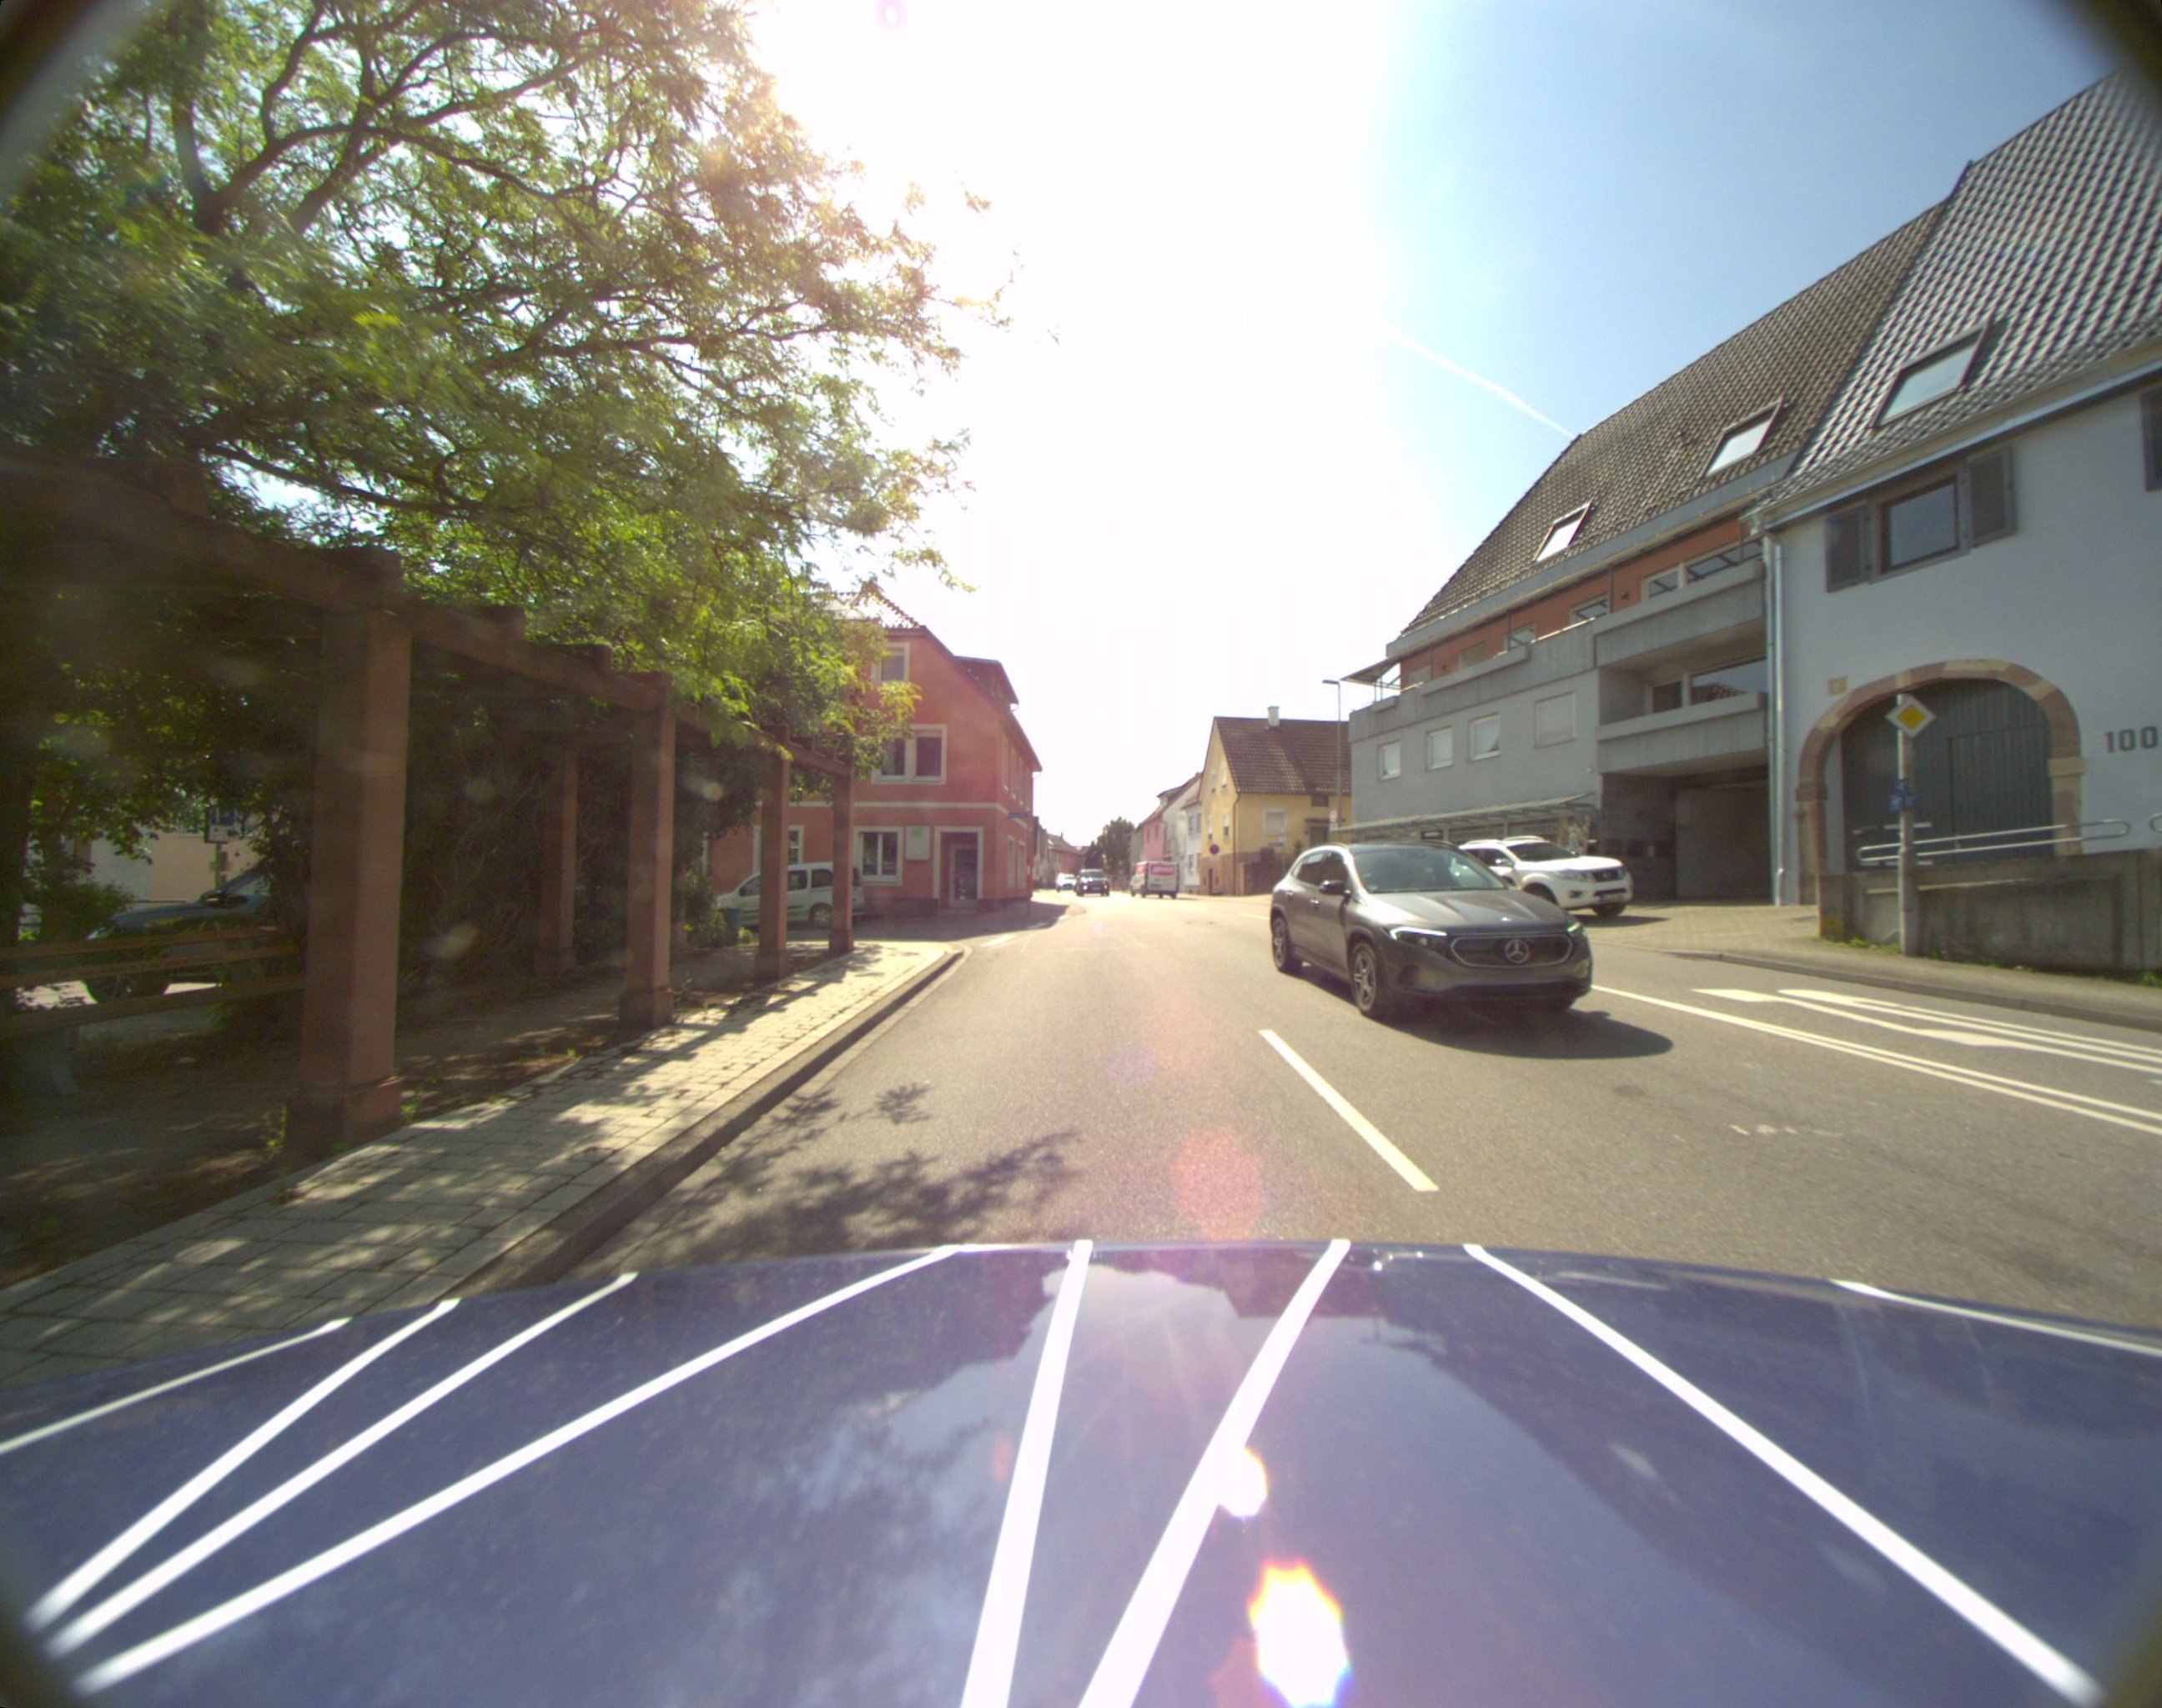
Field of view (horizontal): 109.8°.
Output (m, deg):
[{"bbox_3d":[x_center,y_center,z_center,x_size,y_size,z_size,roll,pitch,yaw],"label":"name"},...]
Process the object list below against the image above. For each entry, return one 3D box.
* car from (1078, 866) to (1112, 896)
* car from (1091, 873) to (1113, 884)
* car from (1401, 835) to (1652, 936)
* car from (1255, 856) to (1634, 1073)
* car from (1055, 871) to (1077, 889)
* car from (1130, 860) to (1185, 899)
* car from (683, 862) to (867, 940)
[{"bbox_3d":[0.809,1.575,45.754,1.793,1.642,4.392,0,0,-3],"label":"car"},{"bbox_3d":[3.634,4.201,130.372,1.944,1.841,4.518,-2,-1,26],"label":"car"},{"bbox_3d":[9.790,0.656,17.378,1.810,1.787,5.282,-5,0,-11],"label":"car"},{"bbox_3d":[3.218,0.830,7.822,1.738,1.564,4.289,-1,0,-1],"label":"car"},{"bbox_3d":[-1.379,2.336,69.235,1.780,1.533,4.098,-1,0,-3],"label":"car"},{"bbox_3d":[4.025,1.322,40.723,1.974,1.921,5.312,1,-1,-5],"label":"car"},{"bbox_3d":[-8.090,1.216,20.307,4.096,1.743,1.813,-4,0,5],"label":"car"}]
